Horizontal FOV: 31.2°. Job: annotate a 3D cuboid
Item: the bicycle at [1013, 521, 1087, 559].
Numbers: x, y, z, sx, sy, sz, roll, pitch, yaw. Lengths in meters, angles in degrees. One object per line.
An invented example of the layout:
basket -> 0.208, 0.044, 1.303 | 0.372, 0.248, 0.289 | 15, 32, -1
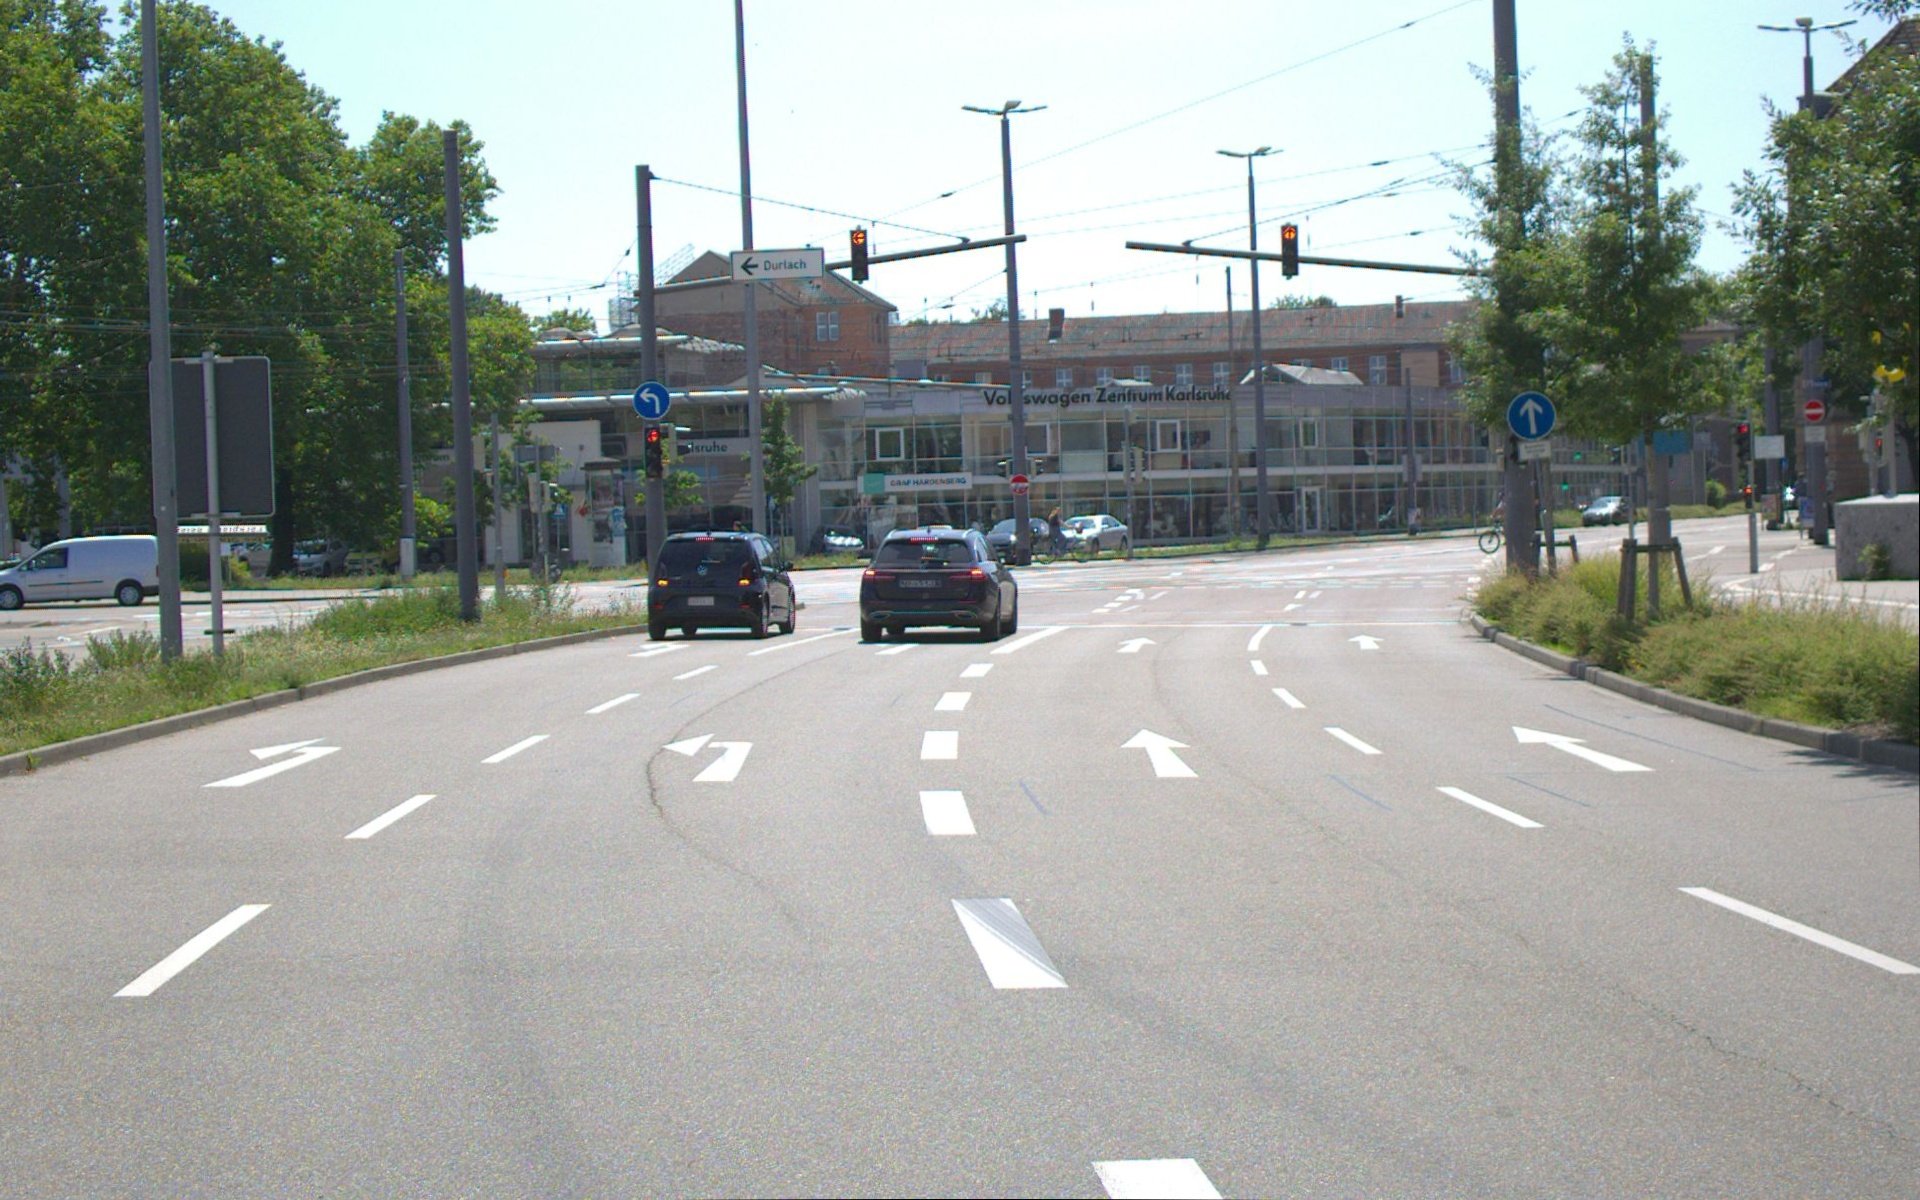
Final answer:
bicycle -> 2.735, -1.825, 104.370 | 2.160, 1.103, 0.457 | -2, 3, -11

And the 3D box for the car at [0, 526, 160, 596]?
car -> -22.793, -1.011, 88.350 | 4.305, 1.621, 1.815 | -2, 3, -13

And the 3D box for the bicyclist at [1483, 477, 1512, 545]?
bicyclist -> 15.636, -2.596, 99.969 | 0.763, 1.931, 0.660 | -1, 3, 5

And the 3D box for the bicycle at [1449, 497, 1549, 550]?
bicycle -> 15.672, -2.230, 99.997 | 2.826, 1.458, 0.634 | -1, 3, 5

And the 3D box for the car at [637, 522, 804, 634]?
car -> -3.327, -0.341, 48.426 | 1.621, 1.458, 3.999 | -1, 1, 6

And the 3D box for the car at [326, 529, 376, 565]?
car -> -26.838, -2.328, 151.505 | 1.510, 1.413, 3.421 | -1, 3, 1

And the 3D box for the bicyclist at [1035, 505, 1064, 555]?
bicyclist -> 2.711, -2.132, 104.354 | 0.731, 1.474, 0.656 | -2, 3, -12

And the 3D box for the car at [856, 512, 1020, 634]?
car -> -0.245, -0.404, 47.086 | 1.717, 1.551, 4.586 | -1, 1, 6

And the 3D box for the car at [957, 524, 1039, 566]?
car -> 1.310, -1.884, 117.074 | 1.540, 1.273, 3.535 | 0, 4, 23

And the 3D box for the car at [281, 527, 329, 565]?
car -> -28.994, -2.389, 152.270 | 1.424, 1.503, 3.438 | -1, 3, 1
